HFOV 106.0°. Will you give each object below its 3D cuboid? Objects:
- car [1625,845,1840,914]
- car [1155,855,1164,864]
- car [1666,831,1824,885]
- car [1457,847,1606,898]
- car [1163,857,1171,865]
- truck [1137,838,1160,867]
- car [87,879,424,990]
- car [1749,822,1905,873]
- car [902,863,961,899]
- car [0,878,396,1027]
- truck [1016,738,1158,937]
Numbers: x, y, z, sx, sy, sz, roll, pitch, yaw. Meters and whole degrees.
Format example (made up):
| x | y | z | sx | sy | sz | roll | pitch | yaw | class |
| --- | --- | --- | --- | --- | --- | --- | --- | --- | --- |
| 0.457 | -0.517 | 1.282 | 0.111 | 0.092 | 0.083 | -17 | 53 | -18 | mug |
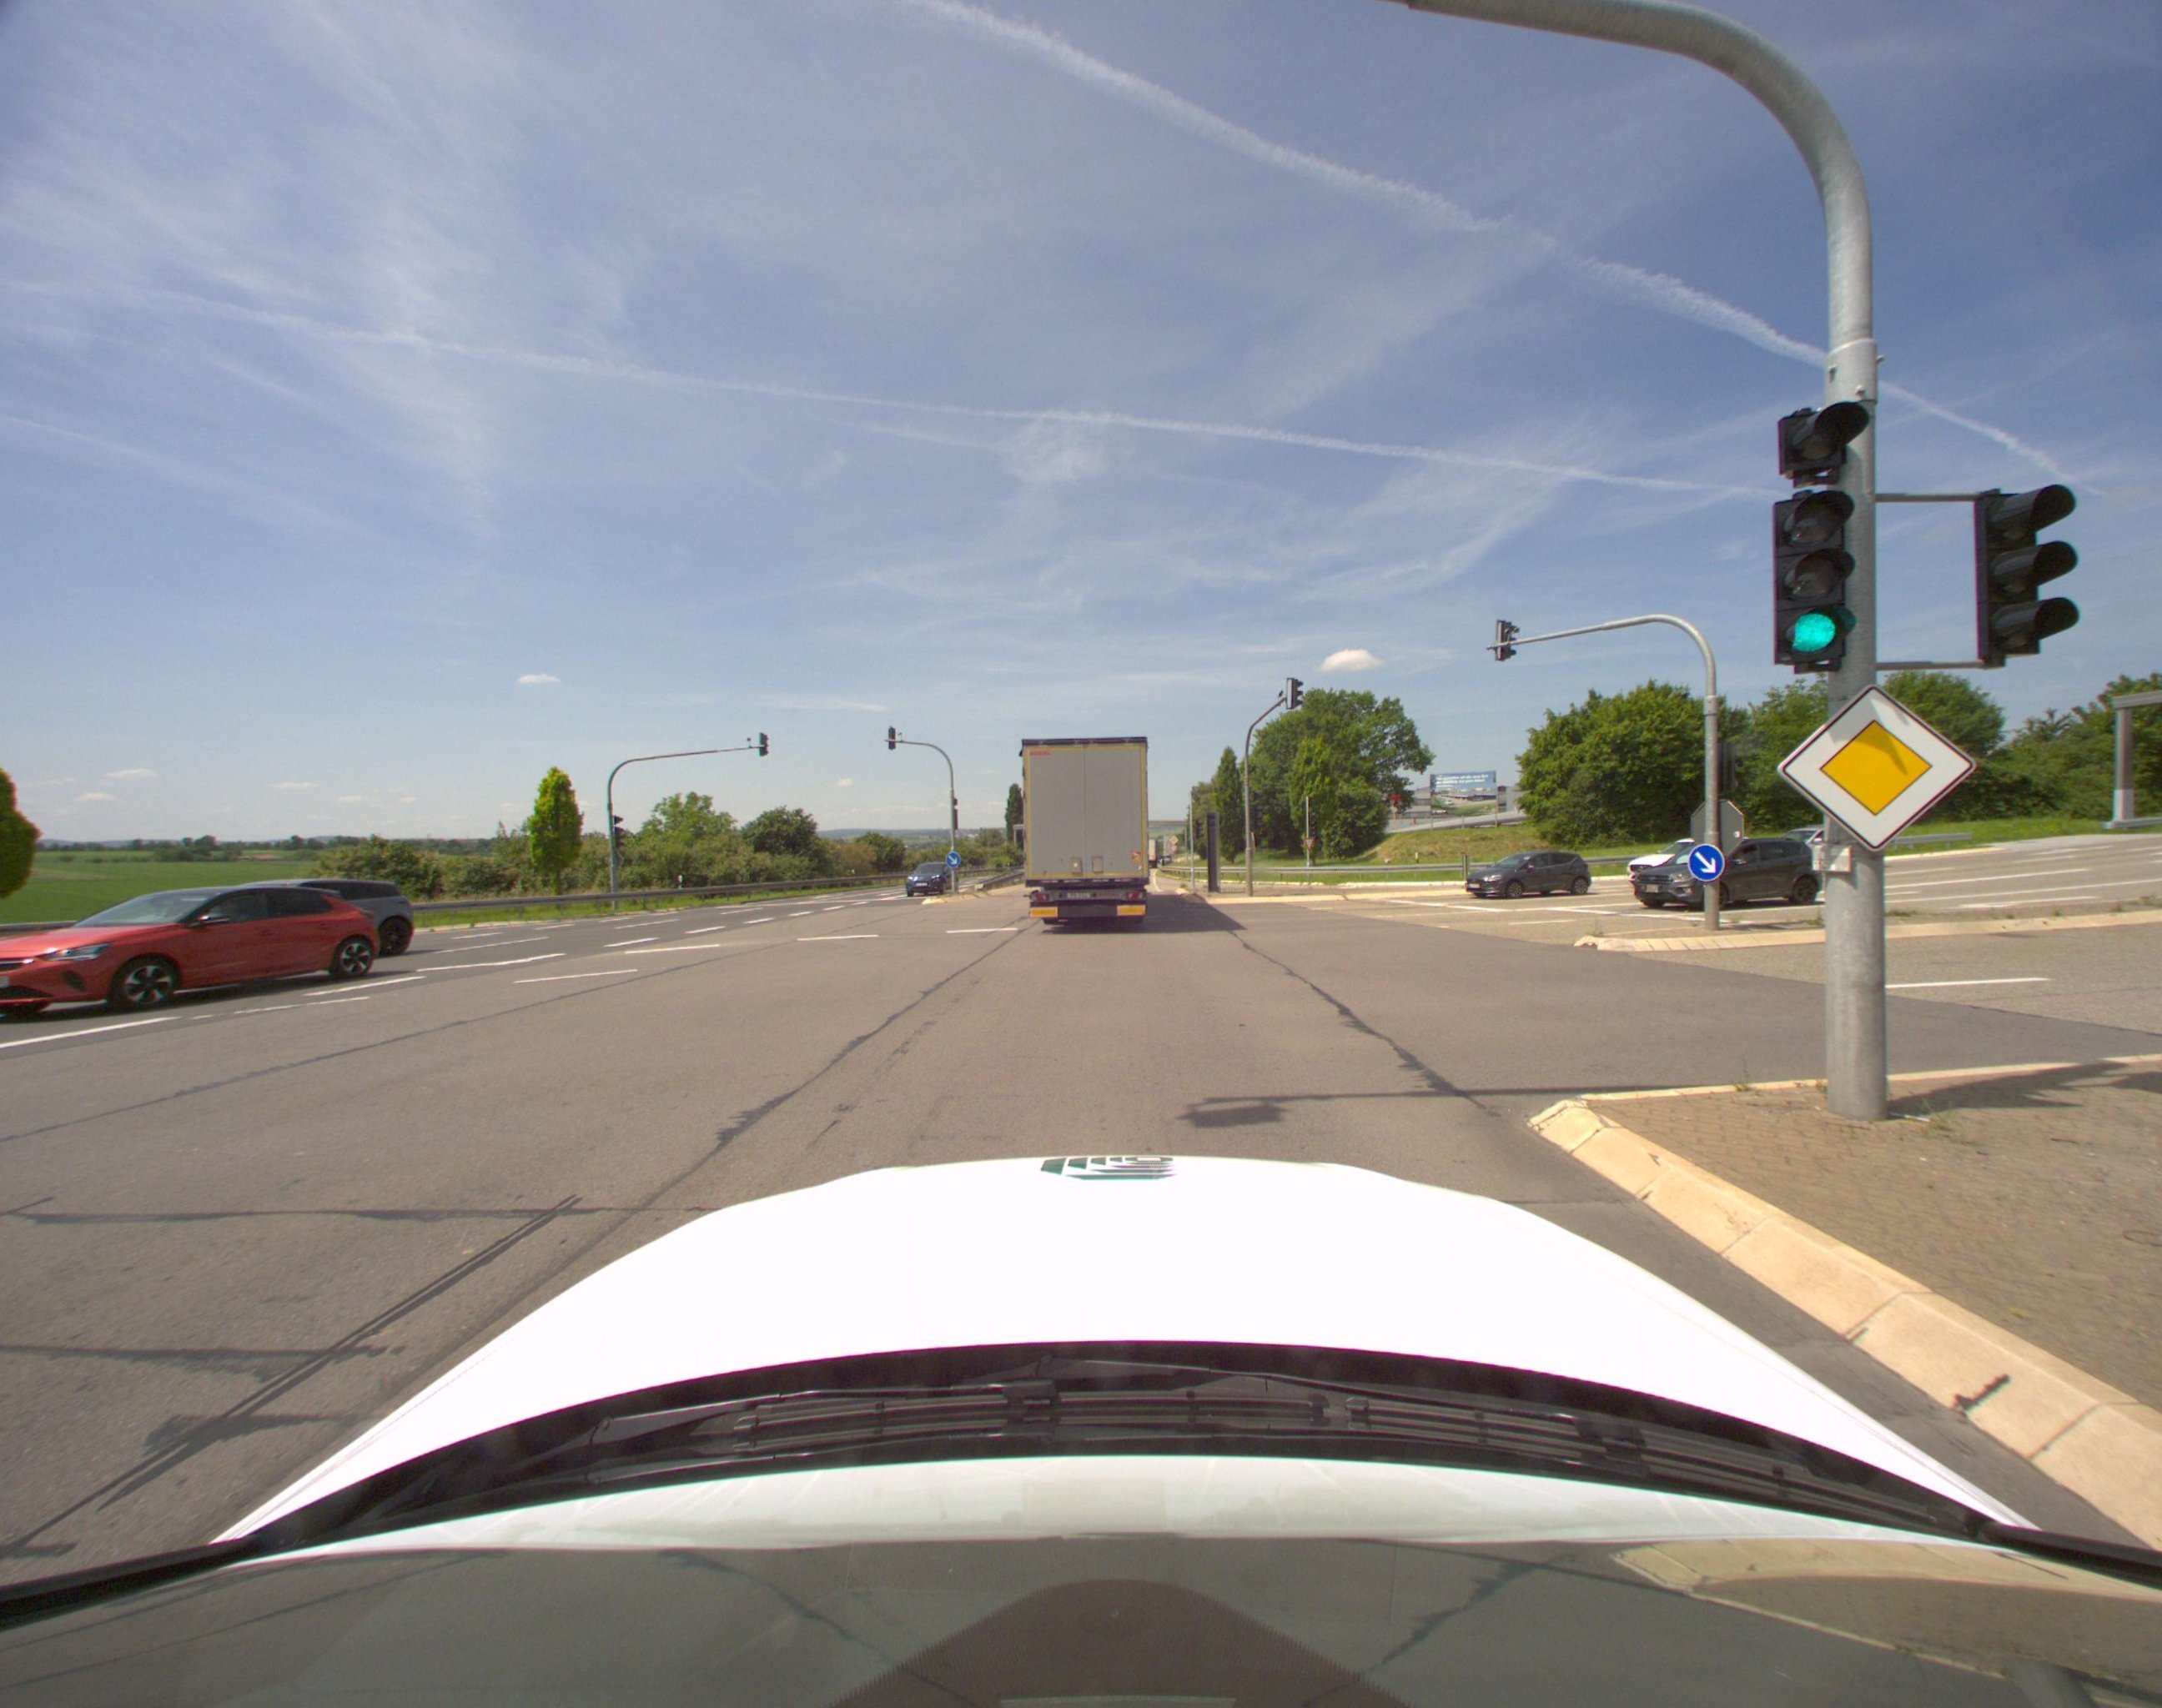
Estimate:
| x | y | z | sx | sy | sz | roll | pitch | yaw | class |
| --- | --- | --- | --- | --- | --- | --- | --- | --- | --- |
| 16.052 | 0.596 | 20.146 | 4.359 | 1.510 | 1.710 | -1 | -1 | -11 | car |
| 15.257 | 1.135 | 158.407 | 1.777 | 1.688 | 4.006 | 0 | -1 | 6 | car |
| 23.283 | 0.153 | 28.622 | 4.355 | 1.592 | 1.775 | -3 | -1 | -8 | car |
| 14.531 | 0.592 | 26.384 | 3.984 | 1.511 | 1.711 | -1 | -1 | -8 | car |
| 18.750 | 1.571 | 177.311 | 1.777 | 1.688 | 4.006 | 0 | -1 | 6 | car |
| 9.409 | -0.098 | 112.749 | 2.641 | 3.765 | 10.180 | 0 | -1 | 7 | truck |
| -14.799 | 1.342 | 15.035 | 1.637 | 1.624 | 4.331 | -3 | -1 | 3 | car |
| 28.681 | -0.236 | 31.401 | 4.347 | 1.655 | 1.835 | -4 | -1 | -2 | car |
| -6.890 | 1.221 | 37.961 | 1.748 | 1.469 | 4.199 | -2 | 0 | 3 | car |
| -11.796 | 1.153 | 10.876 | 1.637 | 1.496 | 4.069 | -3 | -1 | 3 | car |
| 0.059 | -0.304 | 21.861 | 2.791 | 3.929 | 11.337 | 0 | 0 | -1 | truck |
